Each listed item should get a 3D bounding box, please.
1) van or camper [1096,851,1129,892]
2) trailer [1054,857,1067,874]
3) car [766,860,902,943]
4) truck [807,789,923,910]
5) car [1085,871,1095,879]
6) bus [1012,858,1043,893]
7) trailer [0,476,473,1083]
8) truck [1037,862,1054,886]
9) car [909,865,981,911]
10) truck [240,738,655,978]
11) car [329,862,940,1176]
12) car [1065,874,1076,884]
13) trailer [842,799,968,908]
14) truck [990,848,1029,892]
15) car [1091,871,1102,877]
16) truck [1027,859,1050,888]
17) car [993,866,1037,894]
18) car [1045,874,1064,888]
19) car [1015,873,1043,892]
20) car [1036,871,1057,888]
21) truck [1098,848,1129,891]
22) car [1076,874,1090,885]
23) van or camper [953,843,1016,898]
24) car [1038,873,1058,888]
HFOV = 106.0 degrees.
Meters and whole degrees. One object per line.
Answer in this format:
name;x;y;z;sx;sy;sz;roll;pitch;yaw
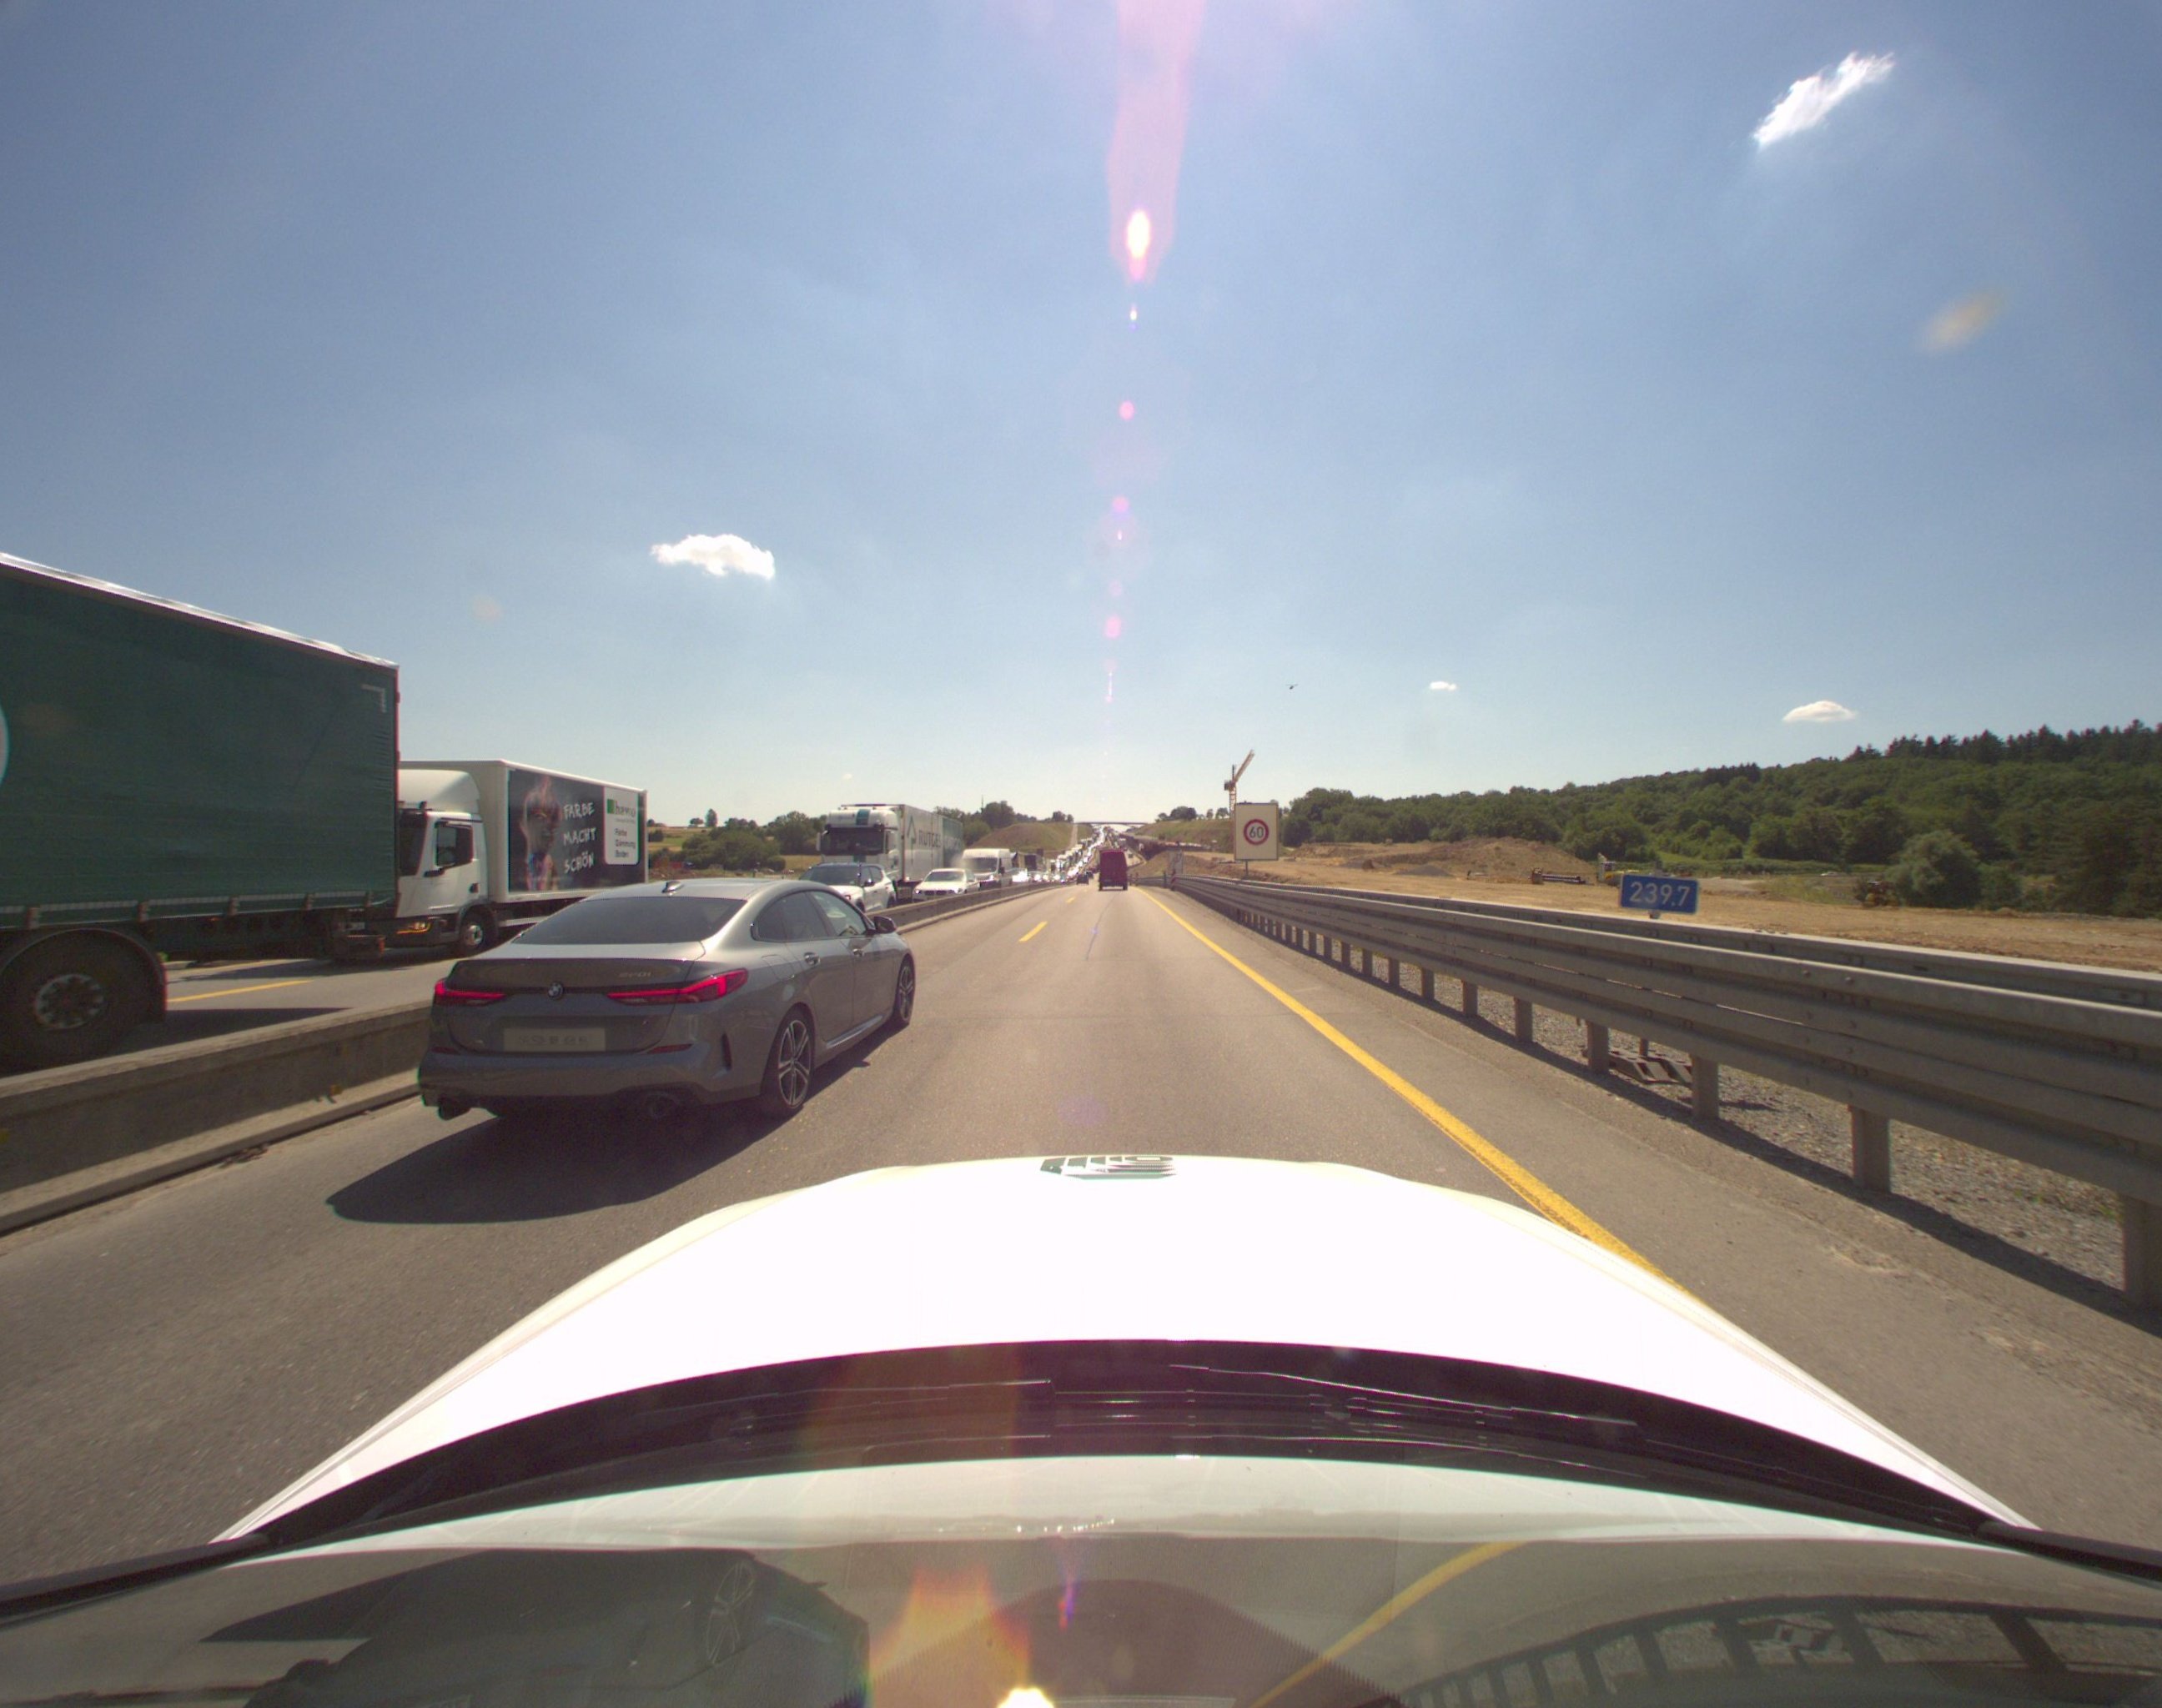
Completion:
van or camper;2.150;1.201;56.678;2.023;2.744;4.514;0;-1;-1
trailer;-5.001;2.838;202.426;2.585;4.257;12.470;-1;-1;2
car;-5.465;0.976;18.602;1.750;1.646;4.156;1;0;1
truck;-8.474;-0.147;32.790;2.796;4.392;6.227;-1;-1;2
car;1.758;4.275;166.116;2.005;1.545;4.132;1;0;1
bus;-6.711;2.627;104.909;2.730;4.264;14.477;1;0;1
trailer;-9.546;-0.537;3.892;3.090;4.465;13.024;-1;0;2
truck;-6.309;3.552;144.334;2.969;4.185;5.869;0;-1;-2
car;-4.898;1.179;29.944;1.989;1.498;4.969;1;0;-3
truck;-12.185;0.080;17.099;2.901;3.765;8.347;0;0;-7
car;-2.556;0.817;6.254;1.844;1.452;4.746;-1;0;3
car;-1.967;4.702;152.125;1.987;1.631;4.757;1;0;0
trailer;-8.168;0.117;40.125;2.804;4.431;13.172;-1;-1;2
truck;-7.181;1.620;82.862;2.792;4.152;10.080;1;-1;1
car;3.754;4.827;197.637;1.999;1.545;4.145;1;0;11
truck;-6.337;2.901;121.857;3.087;4.198;6.701;0;-1;0
car;-4.447;1.743;55.703;2.363;1.726;5.783;1;0;2
car;-3.114;3.190;97.221;1.911;1.423;5.091;1;-1;1
car;-4.342;2.362;68.633;1.875;1.432;5.125;1;0;1
car;-3.385;2.535;80.968;1.853;1.494;4.903;-3;-2;0
truck;3.725;1.794;94.224;3.012;4.693;6.929;-2;-1;-1
car;0.319;3.767;119.473;2.005;1.545;4.131;0;-1;0
van or camper;-4.739;0.807;41.101;2.211;2.511;6.534;1;0;1
car;-3.528;2.835;87.060;1.831;1.444;4.930;1;0;1
